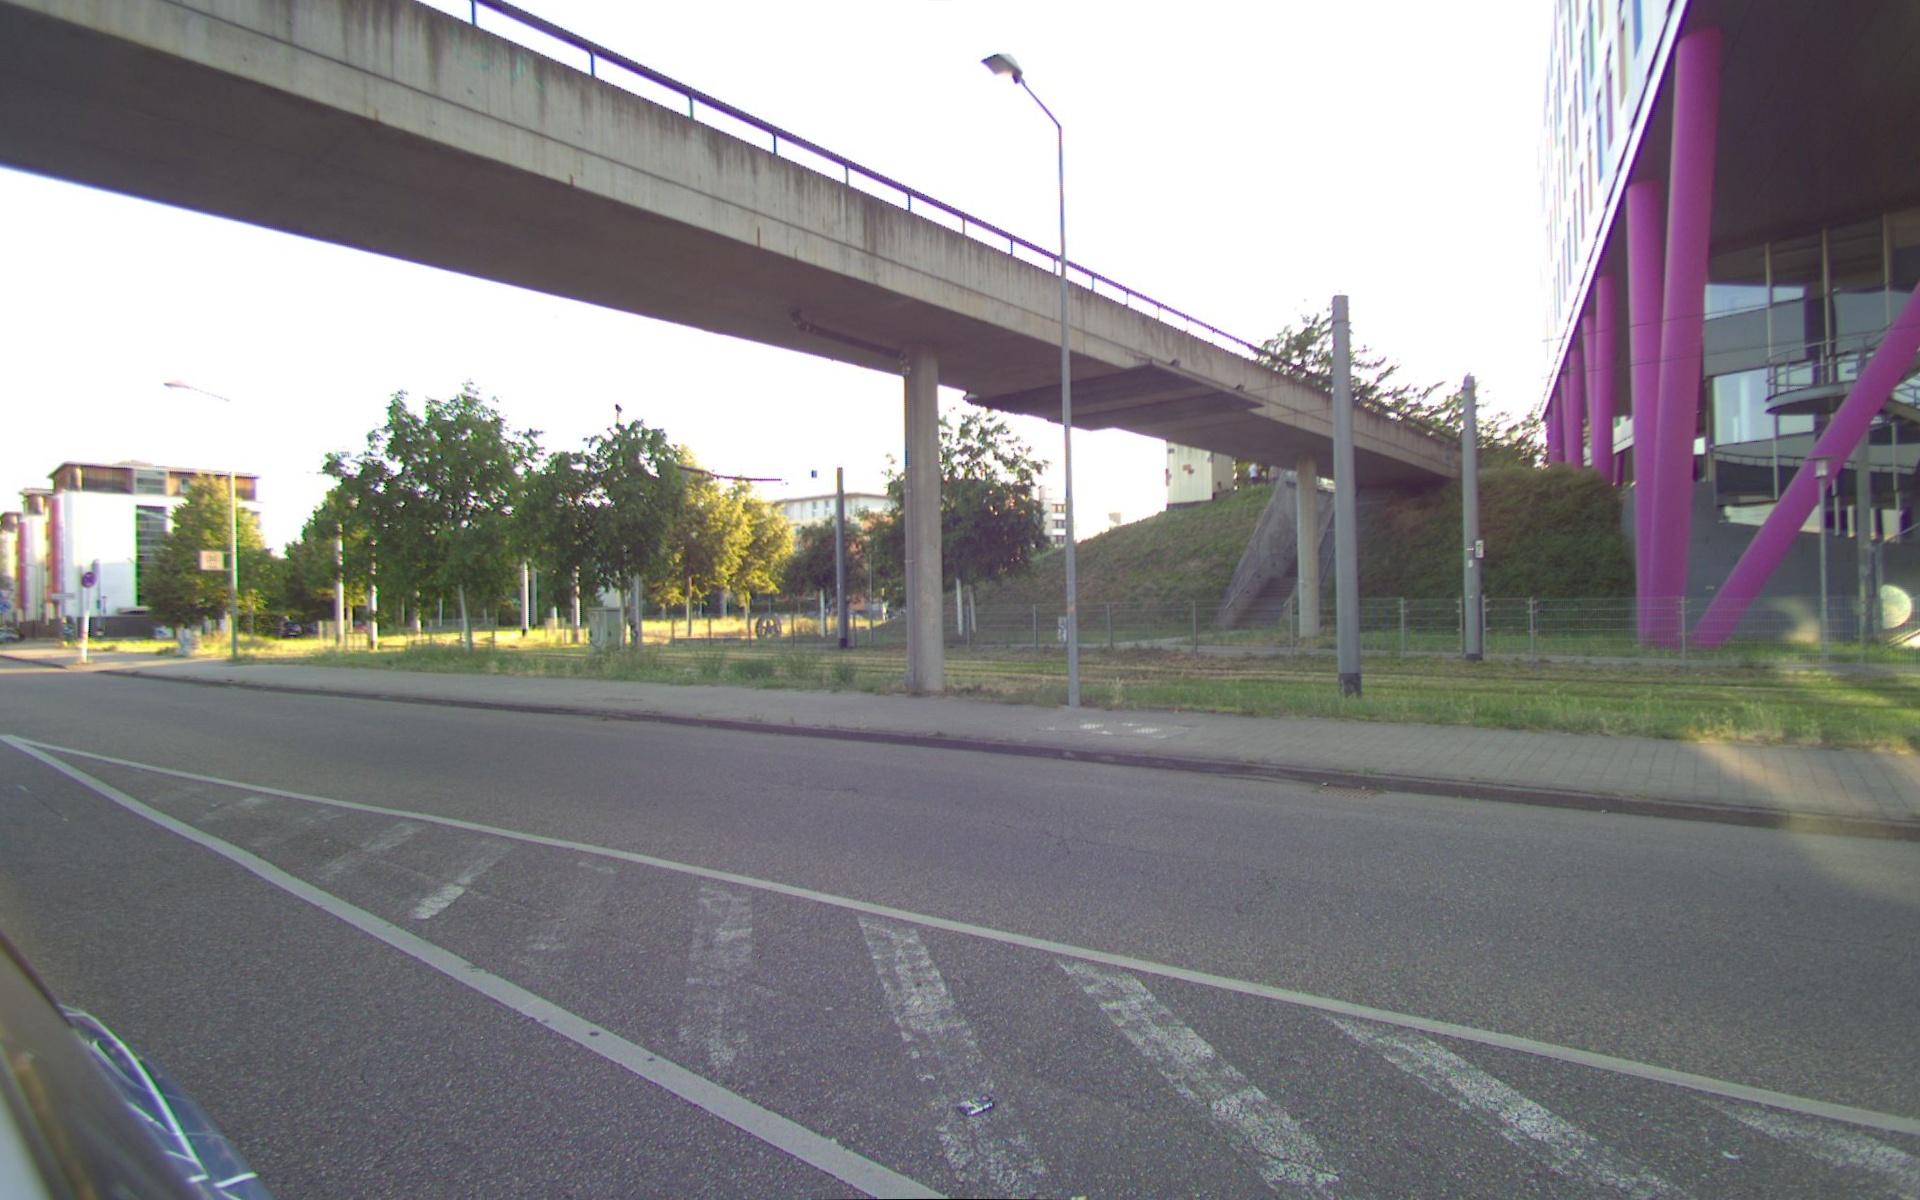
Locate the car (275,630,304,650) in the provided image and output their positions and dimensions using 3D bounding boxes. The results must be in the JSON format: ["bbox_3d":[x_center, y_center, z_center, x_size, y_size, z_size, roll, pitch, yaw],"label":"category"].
[{"bbox_3d":[-56.870,3.384,85.786,1.913,1.541,4.009,-1,-1,-36],"label":"car"}]

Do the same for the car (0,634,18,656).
[{"bbox_3d":[-80.465,3.754,83.480,2.000,1.741,3.944,-2,-1,42],"label":"car"}]

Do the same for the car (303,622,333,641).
[{"bbox_3d":[-55.260,2.714,87.046,1.913,1.541,4.009,-1,-1,-36],"label":"car"}]
